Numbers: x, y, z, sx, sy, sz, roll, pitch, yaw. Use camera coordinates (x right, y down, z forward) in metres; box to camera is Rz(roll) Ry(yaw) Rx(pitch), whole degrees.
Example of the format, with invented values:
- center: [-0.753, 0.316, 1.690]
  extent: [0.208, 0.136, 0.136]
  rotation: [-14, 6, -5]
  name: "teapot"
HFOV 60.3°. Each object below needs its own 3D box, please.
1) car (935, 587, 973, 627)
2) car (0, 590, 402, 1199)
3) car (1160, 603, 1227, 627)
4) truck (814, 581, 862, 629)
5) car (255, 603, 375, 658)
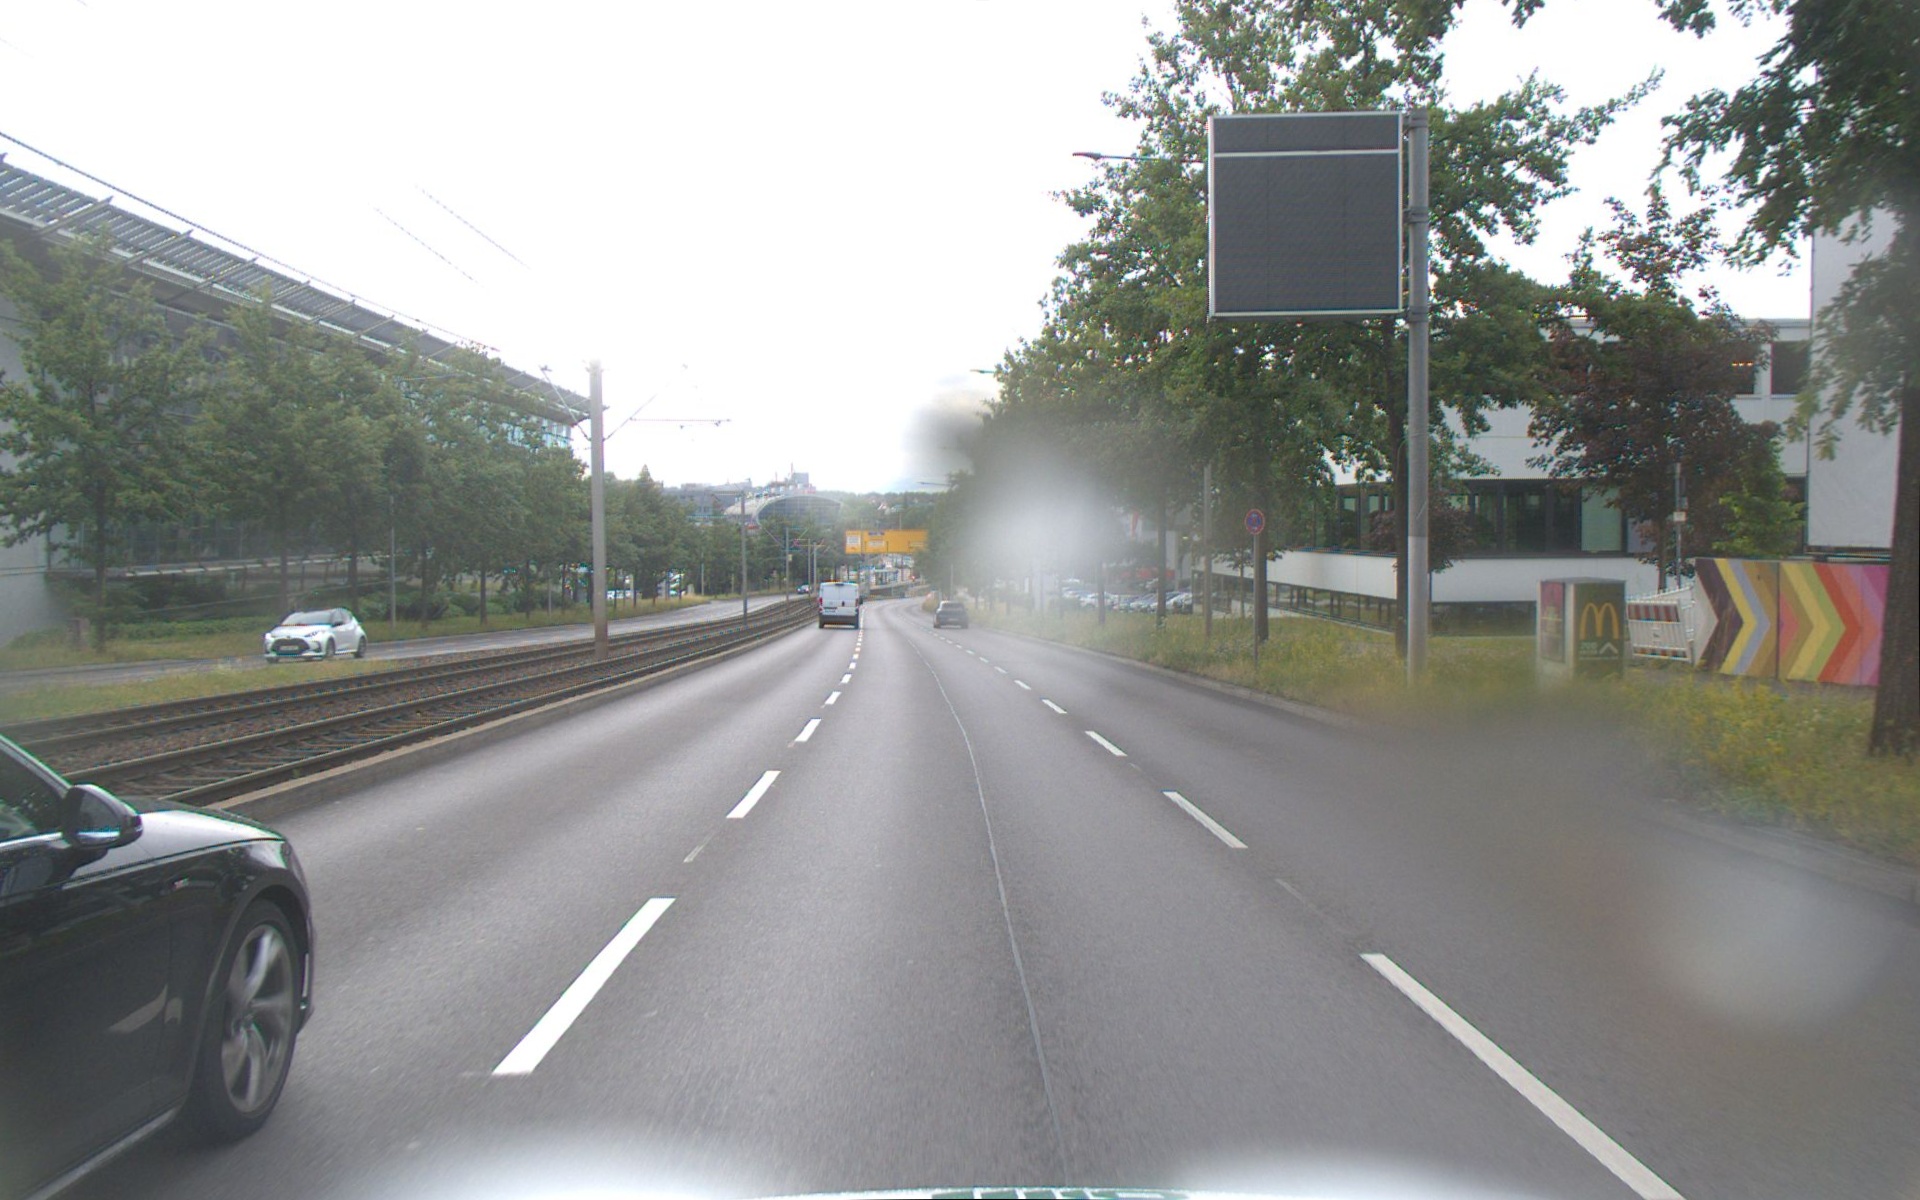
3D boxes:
- center: [-0.333, 0.378, 88.997]
  extent: [1.953, 2.049, 3.933]
  rotation: [1, 0, -1]
  name: "car"
- center: [-2.679, 0.732, 2.974]
  extent: [1.754, 1.459, 4.828]
  rotation: [0, 1, -1]
  name: "car"
- center: [14.548, 0.933, 103.247]
  extent: [3.904, 1.378, 2.000]
  rotation: [1, 0, 2]
  name: "car"
- center: [-6.122, 0.263, 83.583]
  extent: [2.313, 2.301, 5.302]
  rotation: [1, 0, -3]
  name: "truck"
- center: [-18.211, 0.829, 46.885]
  extent: [1.843, 1.473, 4.137]
  rotation: [-1, 0, -1]
  name: "car"
